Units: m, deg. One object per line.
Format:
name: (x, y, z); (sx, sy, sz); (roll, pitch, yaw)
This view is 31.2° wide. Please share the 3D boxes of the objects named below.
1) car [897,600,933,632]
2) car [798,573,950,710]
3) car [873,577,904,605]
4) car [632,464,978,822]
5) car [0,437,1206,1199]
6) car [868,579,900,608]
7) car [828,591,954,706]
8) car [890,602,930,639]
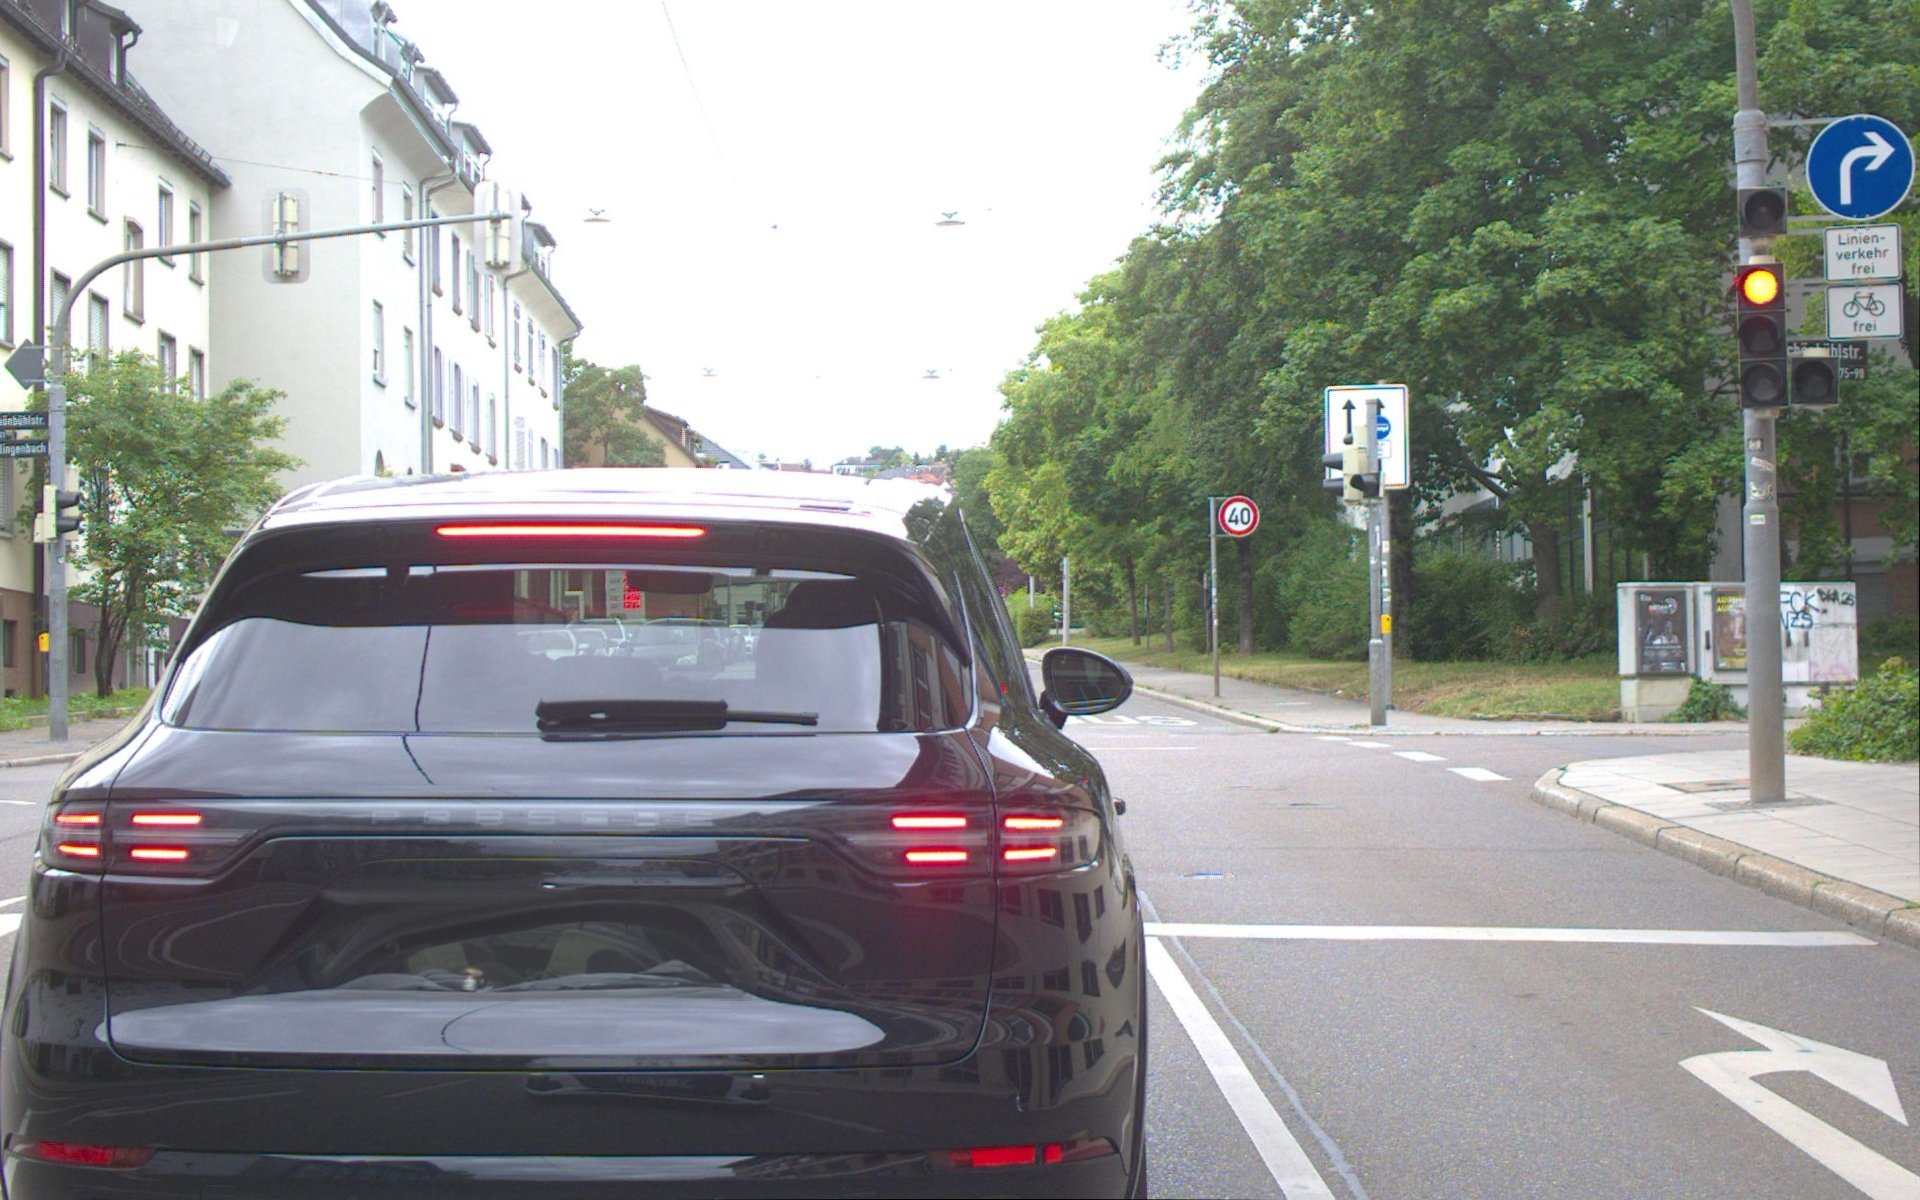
car: (-2.379, 0.846, 182.486); (1.827, 1.599, 4.135); (1, 1, 0)
car: (-1.056, 0.490, 43.823); (1.827, 1.599, 4.135); (1, 1, 0)
car: (-4.377, -0.548, 210.271); (1.827, 1.599, 4.135); (1, 1, 0)
car: (-0.906, 0.215, 21.898); (1.965, 2.035, 4.135); (1, 1, 0)
car: (-0.685, 0.564, 7.251); (2.048, 1.660, 4.267); (1, 1, 0)
car: (-4.476, -0.395, 202.946); (1.827, 1.599, 4.135); (1, 1, 0)
car: (-1.031, 0.713, 52.541); (1.827, 1.599, 3.859); (1, 1, 0)
car: (-2.371, 0.956, 163.310); (1.827, 1.599, 4.135); (1, 1, 0)
